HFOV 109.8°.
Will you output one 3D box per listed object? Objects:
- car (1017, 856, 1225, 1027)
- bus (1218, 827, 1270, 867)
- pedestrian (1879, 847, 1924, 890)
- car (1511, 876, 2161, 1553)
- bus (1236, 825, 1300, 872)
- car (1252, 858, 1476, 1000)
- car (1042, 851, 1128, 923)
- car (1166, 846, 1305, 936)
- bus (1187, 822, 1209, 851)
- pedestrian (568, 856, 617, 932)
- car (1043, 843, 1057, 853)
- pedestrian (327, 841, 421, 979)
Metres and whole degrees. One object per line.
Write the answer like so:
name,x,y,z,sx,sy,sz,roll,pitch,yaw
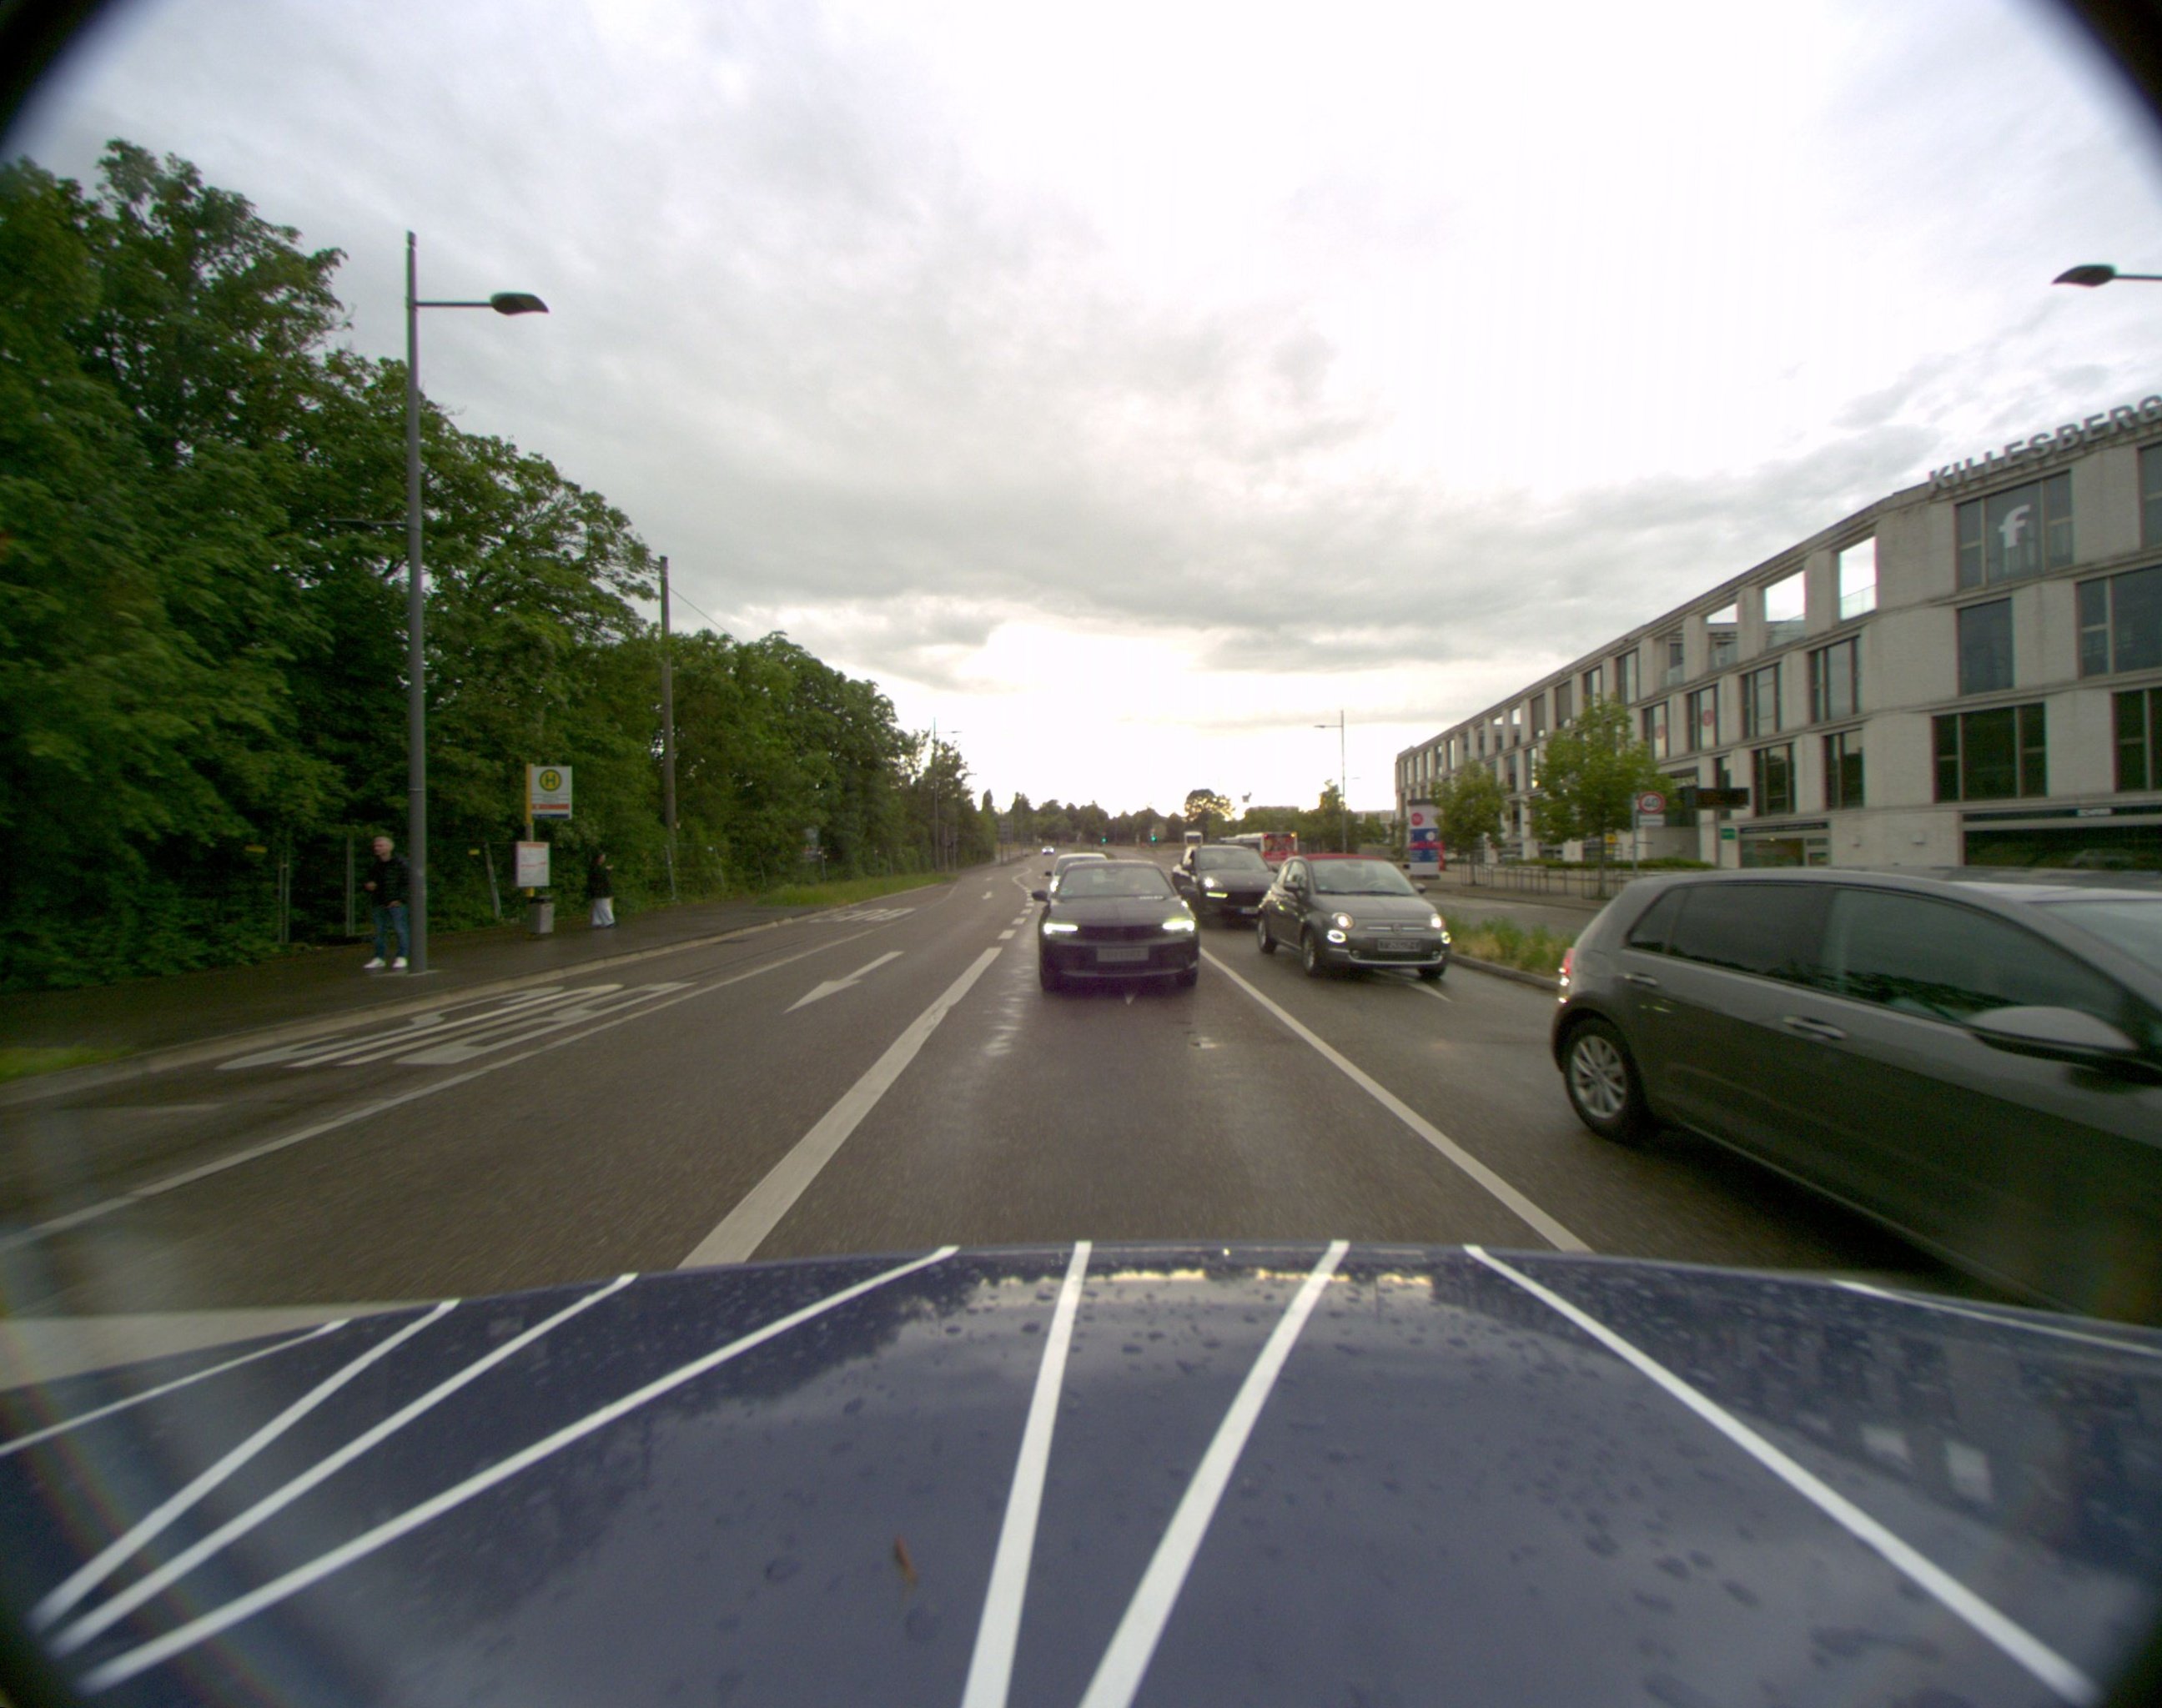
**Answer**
car,0.407,0.831,9.479,1.901,1.456,4.767,-2,1,1
bus,14.142,-0.606,66.644,2.693,3.163,9.912,-2,1,2
pedestrian,30.523,0.525,28.277,0.765,1.596,0.913,-1,1,-22
car,3.465,0.901,2.371,1.820,1.473,4.376,-1,1,1
bus,13.857,-0.443,57.139,2.759,3.194,9.207,-2,1,2
car,3.484,0.829,10.038,1.631,1.473,3.505,-1,1,-1
car,0.155,0.742,19.738,1.901,1.524,4.767,-2,1,2
car,3.140,0.670,16.477,1.934,1.649,4.616,-1,1,-2
bus,18.688,-2.703,120.403,2.757,4.130,19.359,-2,1,11
pedestrian,-10.583,0.849,16.482,0.588,1.618,0.661,-1,1,1
car,-5.800,-1.133,140.377,2.000,1.805,3.996,-2,1,-10
pedestrian,-10.174,0.786,10.962,0.742,1.938,0.597,-1,1,1
